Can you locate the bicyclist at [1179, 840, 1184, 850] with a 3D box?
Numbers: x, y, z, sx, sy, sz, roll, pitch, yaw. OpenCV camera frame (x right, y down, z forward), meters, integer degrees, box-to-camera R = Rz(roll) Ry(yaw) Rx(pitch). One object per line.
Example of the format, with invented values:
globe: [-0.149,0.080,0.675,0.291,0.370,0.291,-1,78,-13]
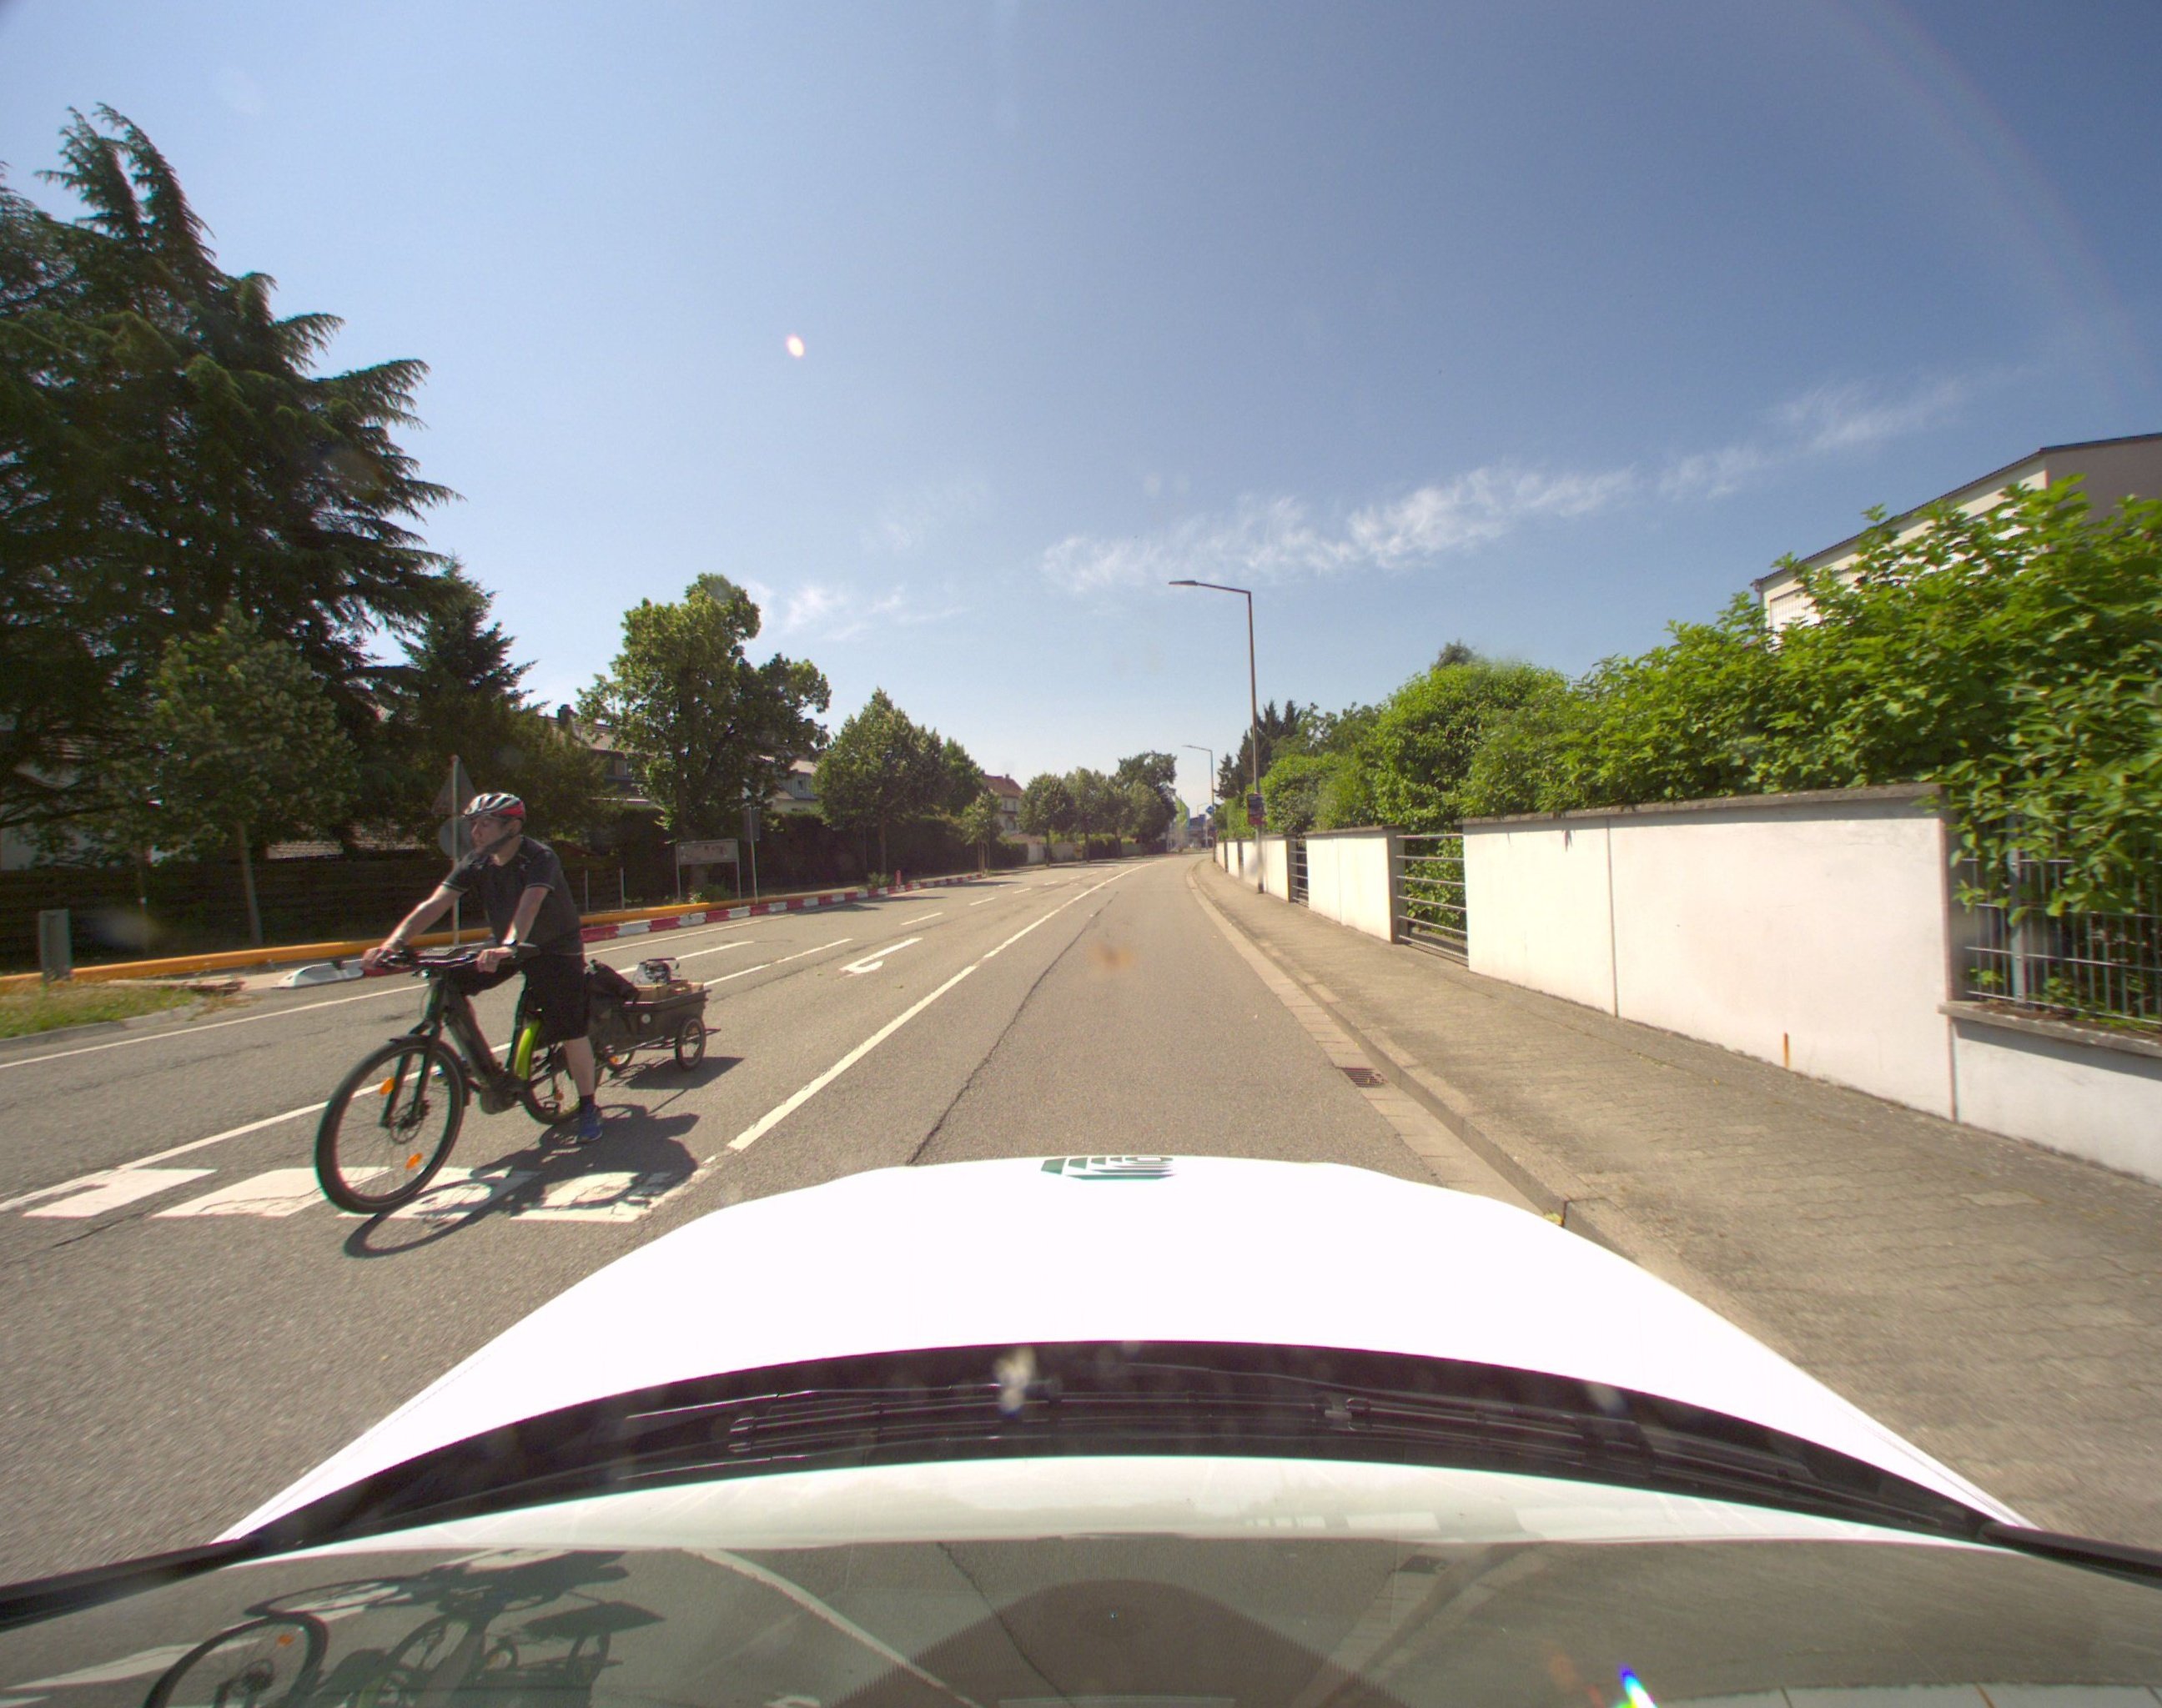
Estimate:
bicyclist: [14.997,-1.360,121.274,0.624,1.408,0.679,-3,0,15]

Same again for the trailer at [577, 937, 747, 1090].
trailer: [-2.939,1.088,5.824,0.568,0.856,1.133,-2,0,2]

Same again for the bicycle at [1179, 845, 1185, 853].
bicycle: [15.019,-0.786,121.286,0.627,1.180,1.823,-3,0,15]

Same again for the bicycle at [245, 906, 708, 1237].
bicycle: [-2.878,0.939,4.254,0.847,1.166,1.978,-2,0,2]

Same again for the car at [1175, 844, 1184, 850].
car: [24.442,-1.805,202.212,1.605,1.420,3.727,-4,0,15]

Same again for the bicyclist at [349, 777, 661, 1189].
bicyclist: [-2.891,0.589,4.218,0.842,1.865,0.977,-2,0,2]

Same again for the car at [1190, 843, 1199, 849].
car: [28.139,-1.932,201.739,1.605,1.420,3.727,-4,0,15]
